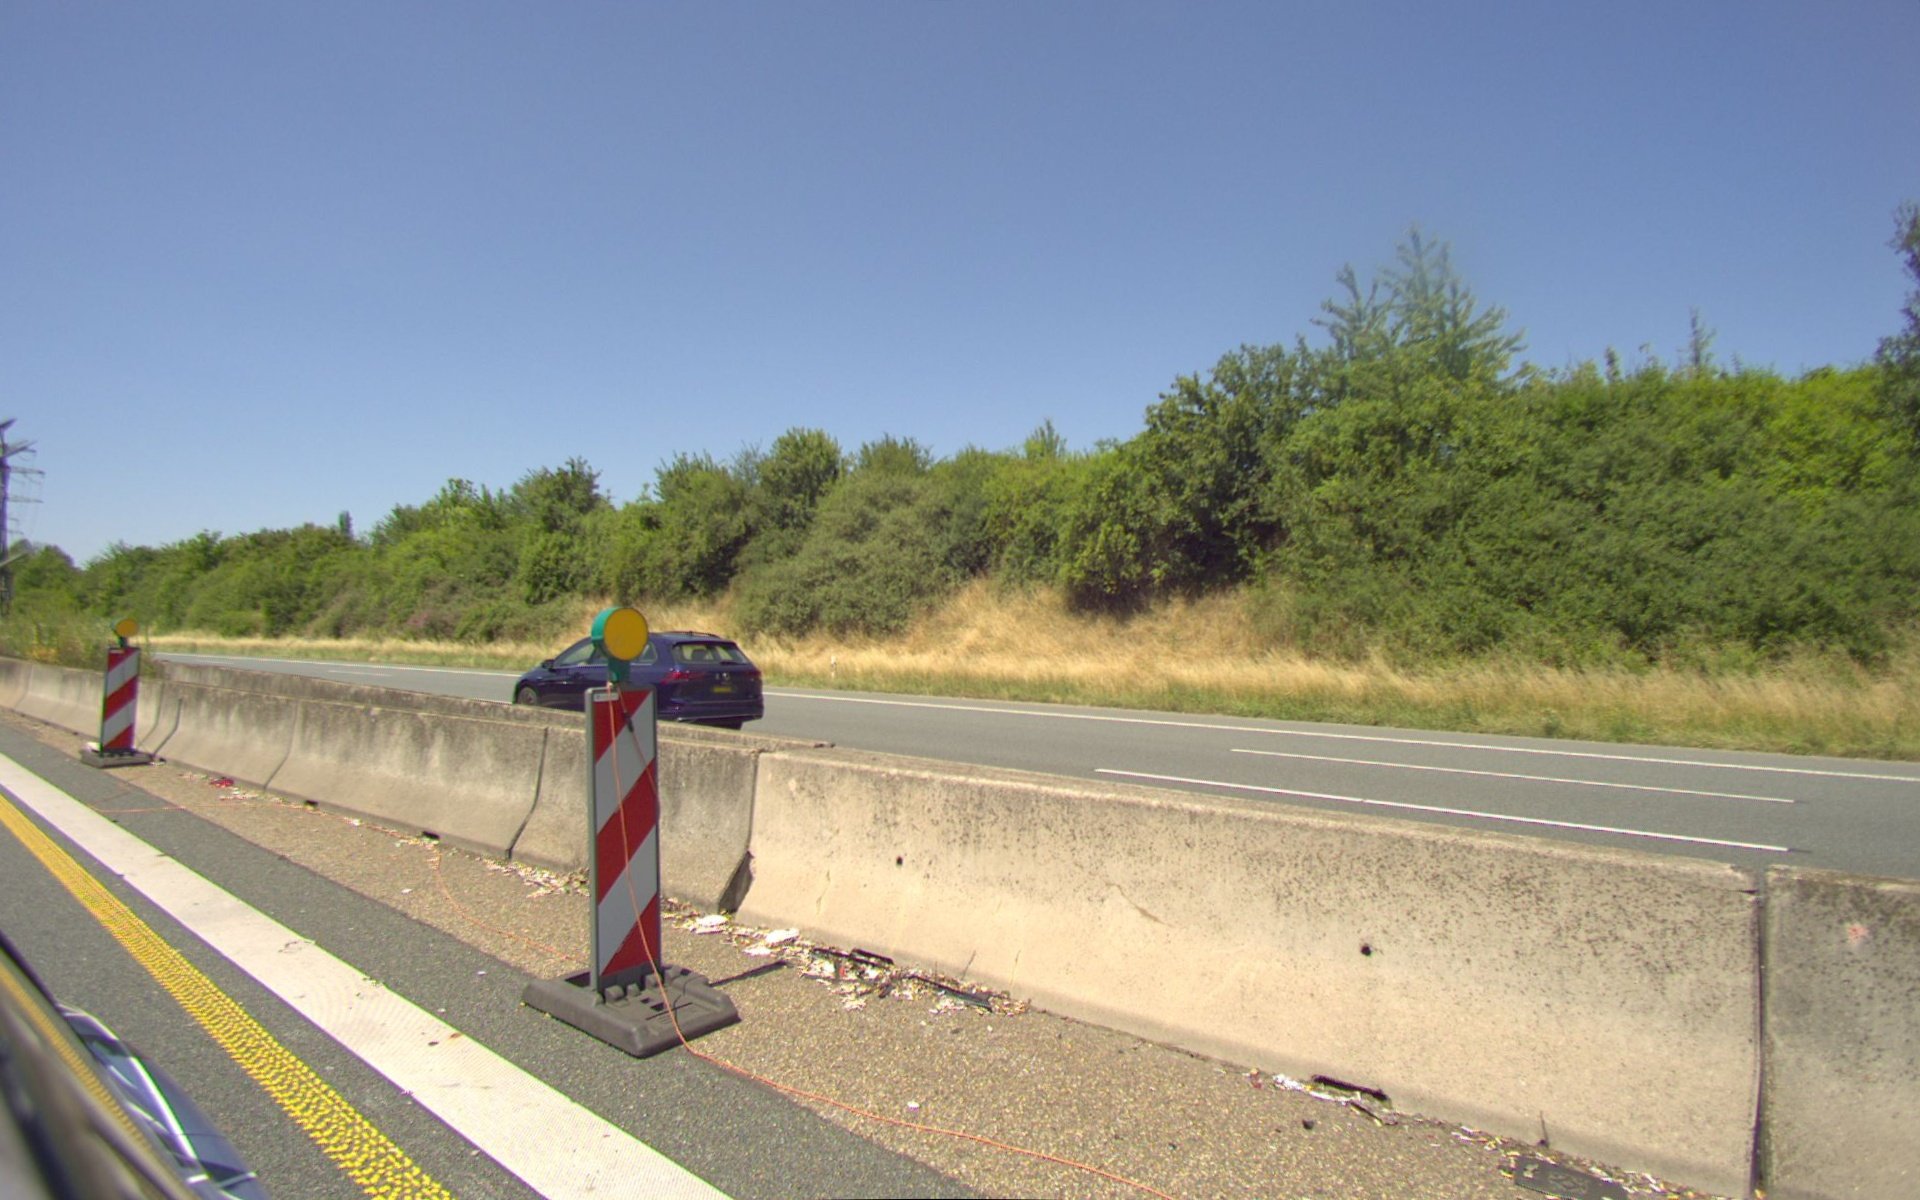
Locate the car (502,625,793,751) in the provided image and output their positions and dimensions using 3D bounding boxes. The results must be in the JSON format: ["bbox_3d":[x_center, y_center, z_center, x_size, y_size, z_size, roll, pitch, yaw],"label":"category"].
[{"bbox_3d":[-4.524,1.122,14.302,4.491,1.502,1.843,-2,-3,41],"label":"car"}]
